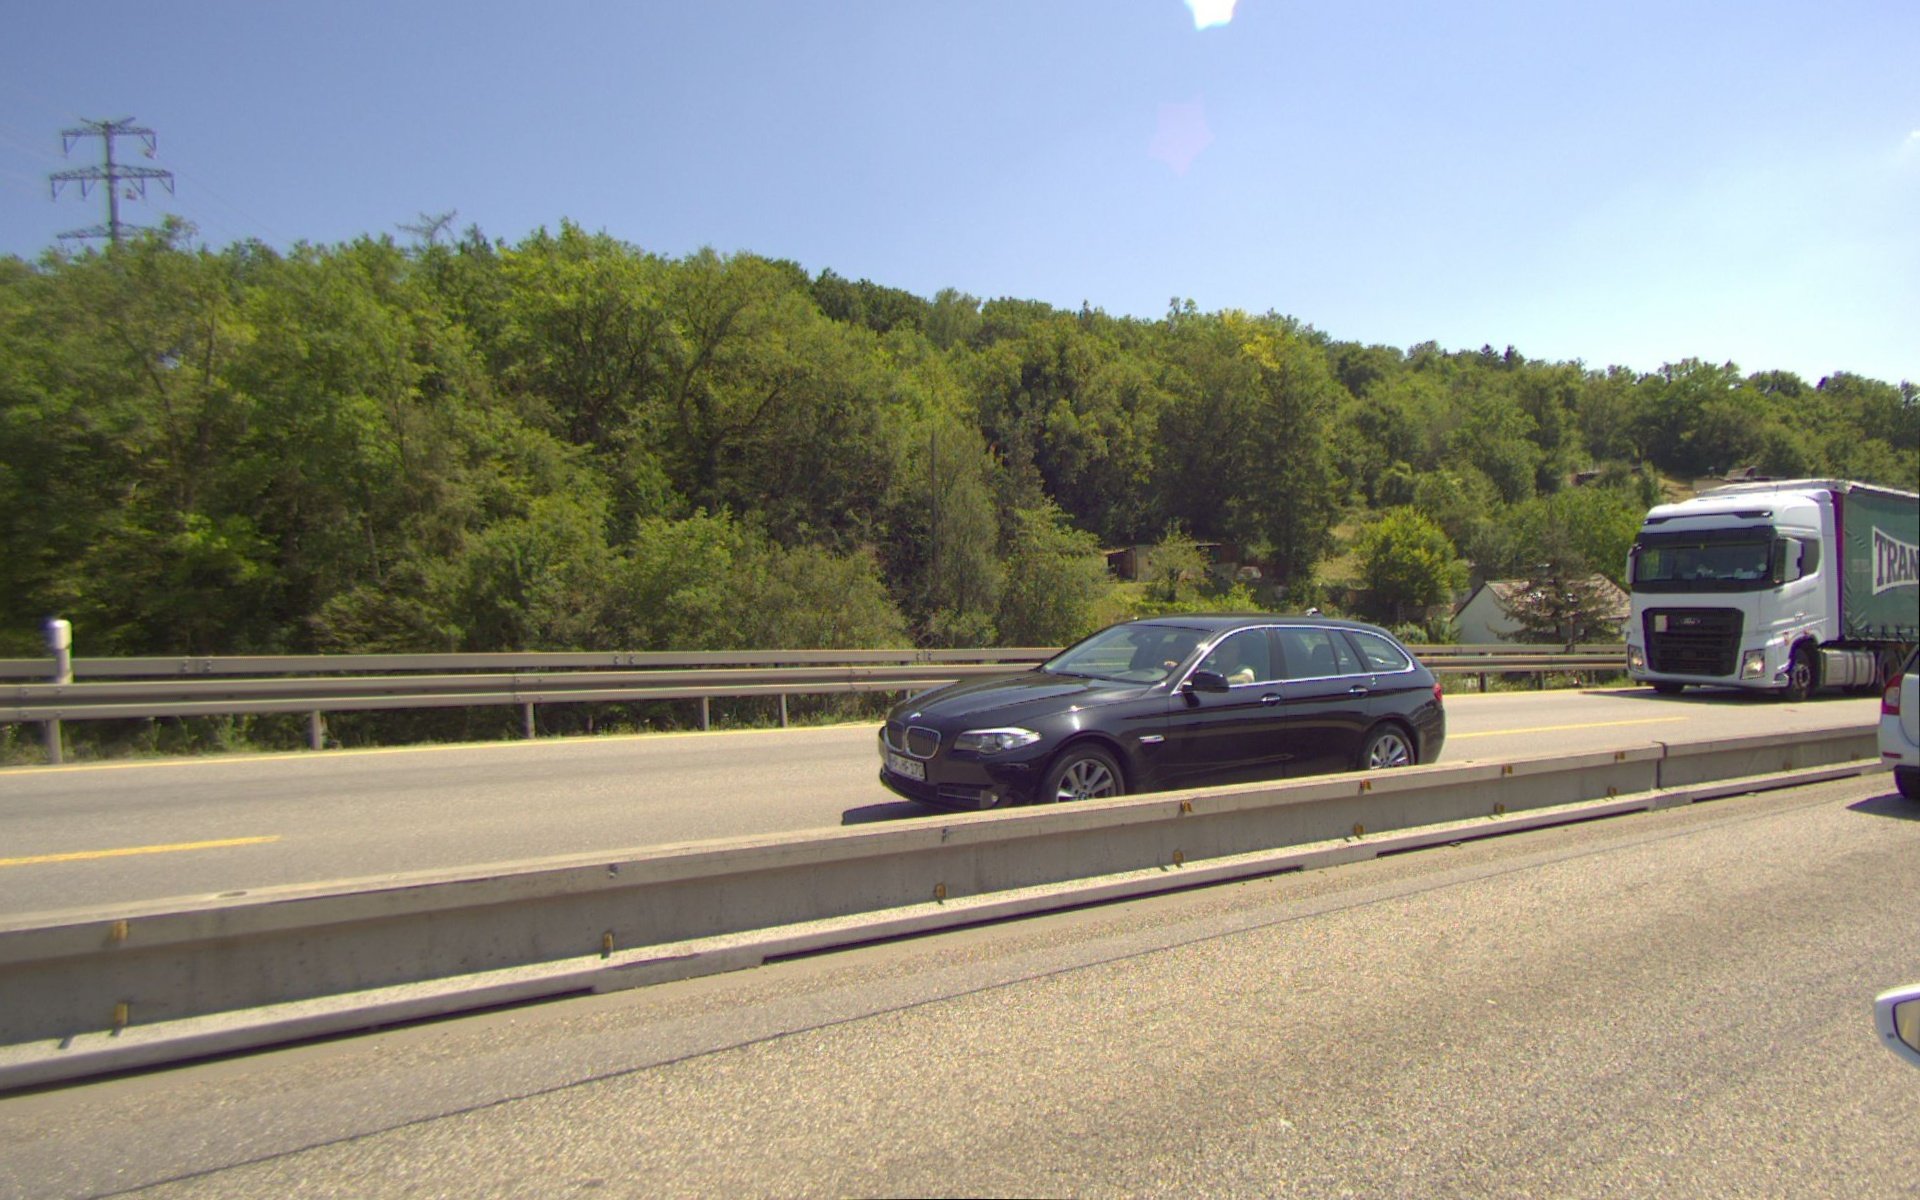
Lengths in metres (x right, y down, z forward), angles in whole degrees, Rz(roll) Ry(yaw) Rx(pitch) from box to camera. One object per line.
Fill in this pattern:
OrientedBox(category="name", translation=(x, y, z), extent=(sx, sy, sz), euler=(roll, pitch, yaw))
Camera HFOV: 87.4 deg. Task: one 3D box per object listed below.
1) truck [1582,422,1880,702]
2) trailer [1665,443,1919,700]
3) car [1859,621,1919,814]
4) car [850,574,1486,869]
OrientedBox(category="truck", translation=(15.279, -0.592, 19.945), extent=(4.589, 4.885, 3.048), euler=(2, -1, -29))
OrientedBox(category="trailer", translation=(22.086, -0.312, 23.742), extent=(13.831, 4.879, 3.051), euler=(2, -1, -29))
OrientedBox(category="car", translation=(9.523, 0.959, 8.484), extent=(4.216, 1.503, 1.644), euler=(2, -3, -30))
OrientedBox(category="car", translation=(1.755, 0.760, 7.794), extent=(4.800, 1.661, 1.982), euler=(2, -1, -32))
